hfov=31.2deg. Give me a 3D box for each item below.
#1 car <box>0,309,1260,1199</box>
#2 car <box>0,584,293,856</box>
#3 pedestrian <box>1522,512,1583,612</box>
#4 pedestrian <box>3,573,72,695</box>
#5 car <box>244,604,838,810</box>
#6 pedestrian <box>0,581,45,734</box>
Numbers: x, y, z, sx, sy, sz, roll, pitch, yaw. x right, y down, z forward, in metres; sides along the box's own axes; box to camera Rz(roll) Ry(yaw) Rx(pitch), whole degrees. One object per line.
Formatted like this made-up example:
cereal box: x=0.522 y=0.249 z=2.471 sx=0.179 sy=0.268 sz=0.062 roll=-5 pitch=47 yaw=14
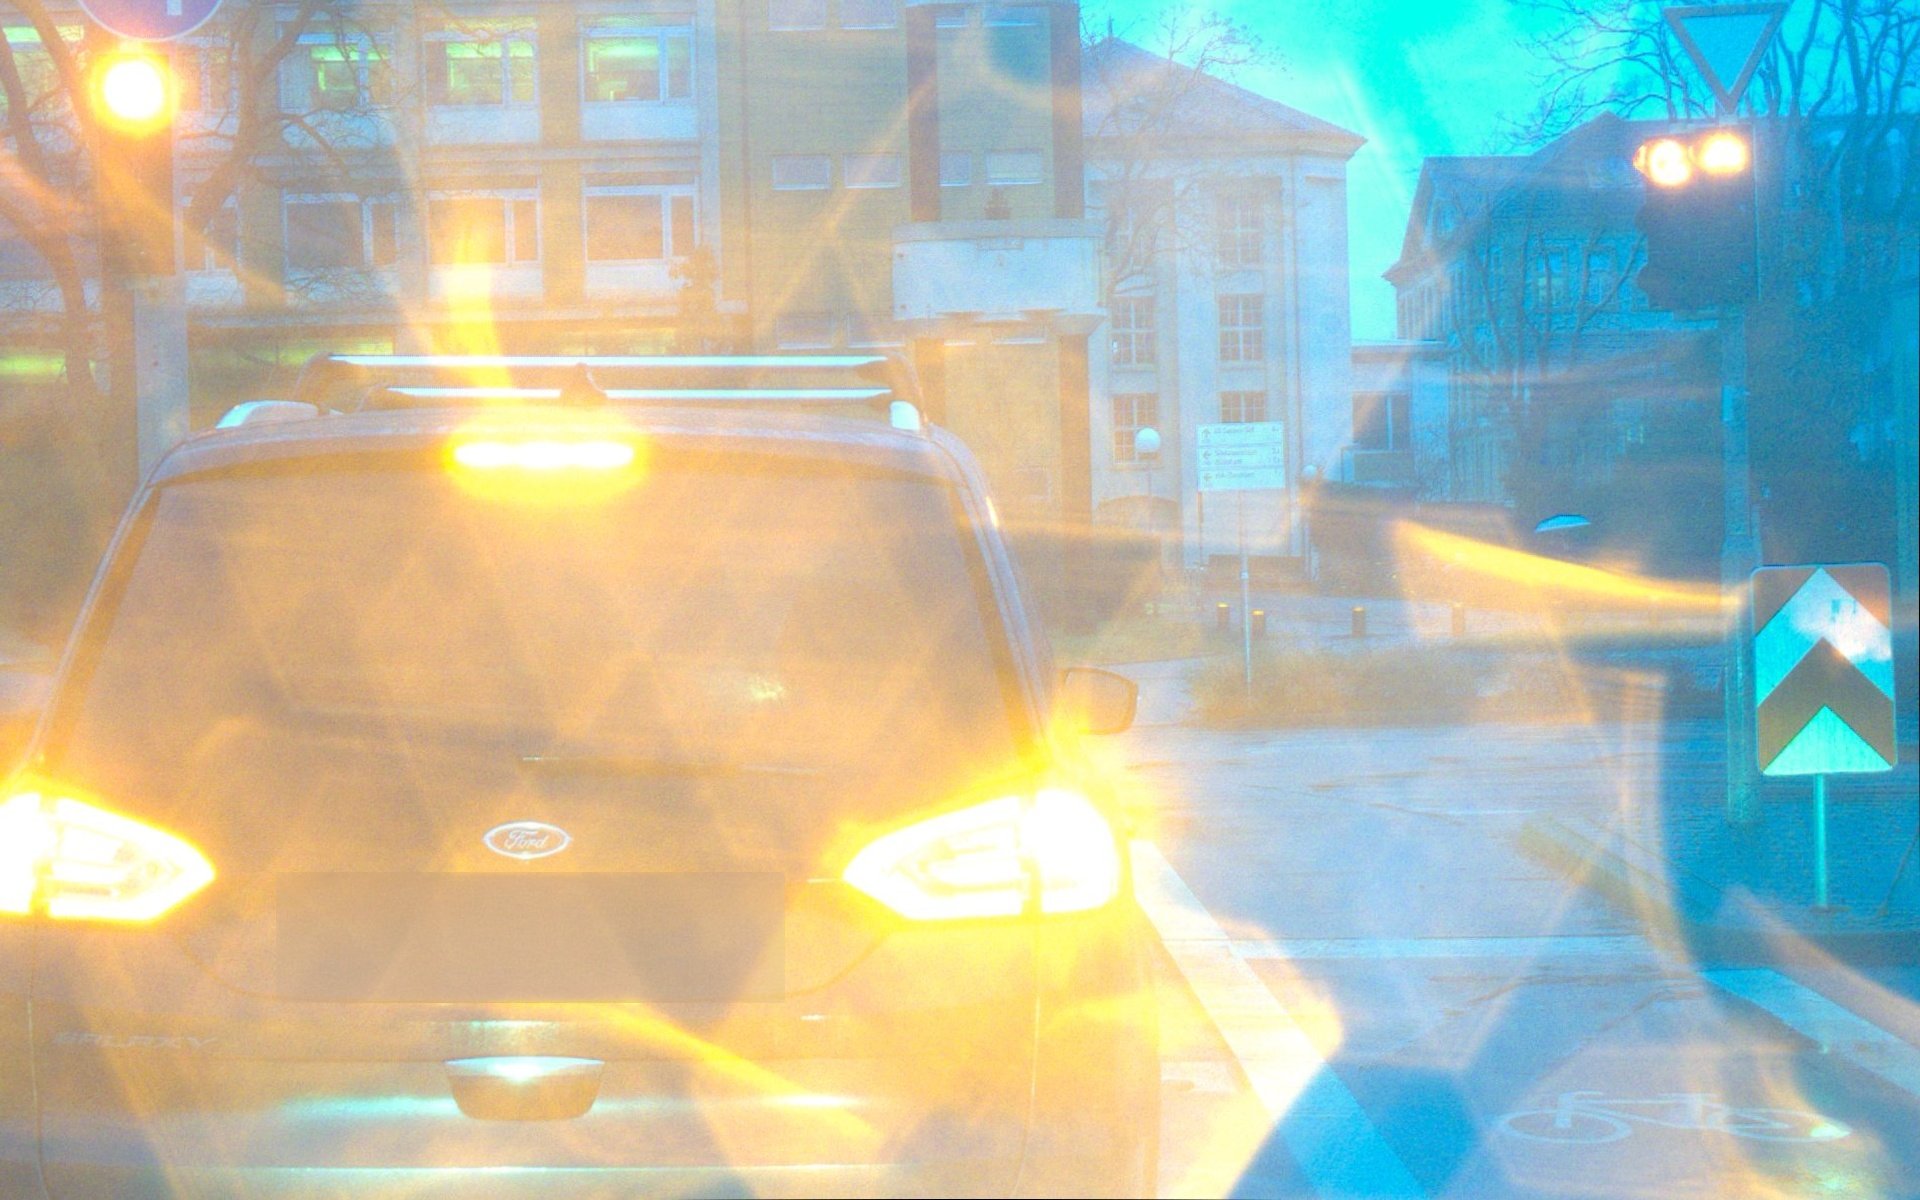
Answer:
car: x=-0.633 y=0.495 z=6.566 sx=1.993 sy=1.783 sz=4.000 roll=1 pitch=1 yaw=-1
car: x=-6.510 y=0.754 z=21.594 sx=4.126 sy=1.577 sz=1.840 roll=-2 pitch=0 yaw=12
pedestrian: x=9.885 y=-0.640 z=57.315 sx=0.720 sy=1.622 sz=0.761 roll=-1 pitch=1 yaw=32
pedestrian: x=-12.968 y=0.478 z=48.339 sx=0.639 sy=1.682 sz=0.636 roll=-2 pitch=1 yaw=16
car: x=-2.903 y=0.736 z=24.114 sx=3.756 sy=1.297 sz=1.700 roll=-2 pitch=0 yaw=12
pedestrian: x=-12.223 y=0.730 z=42.822 sx=1.002 sy=1.836 sz=1.138 roll=-2 pitch=3 yaw=23
